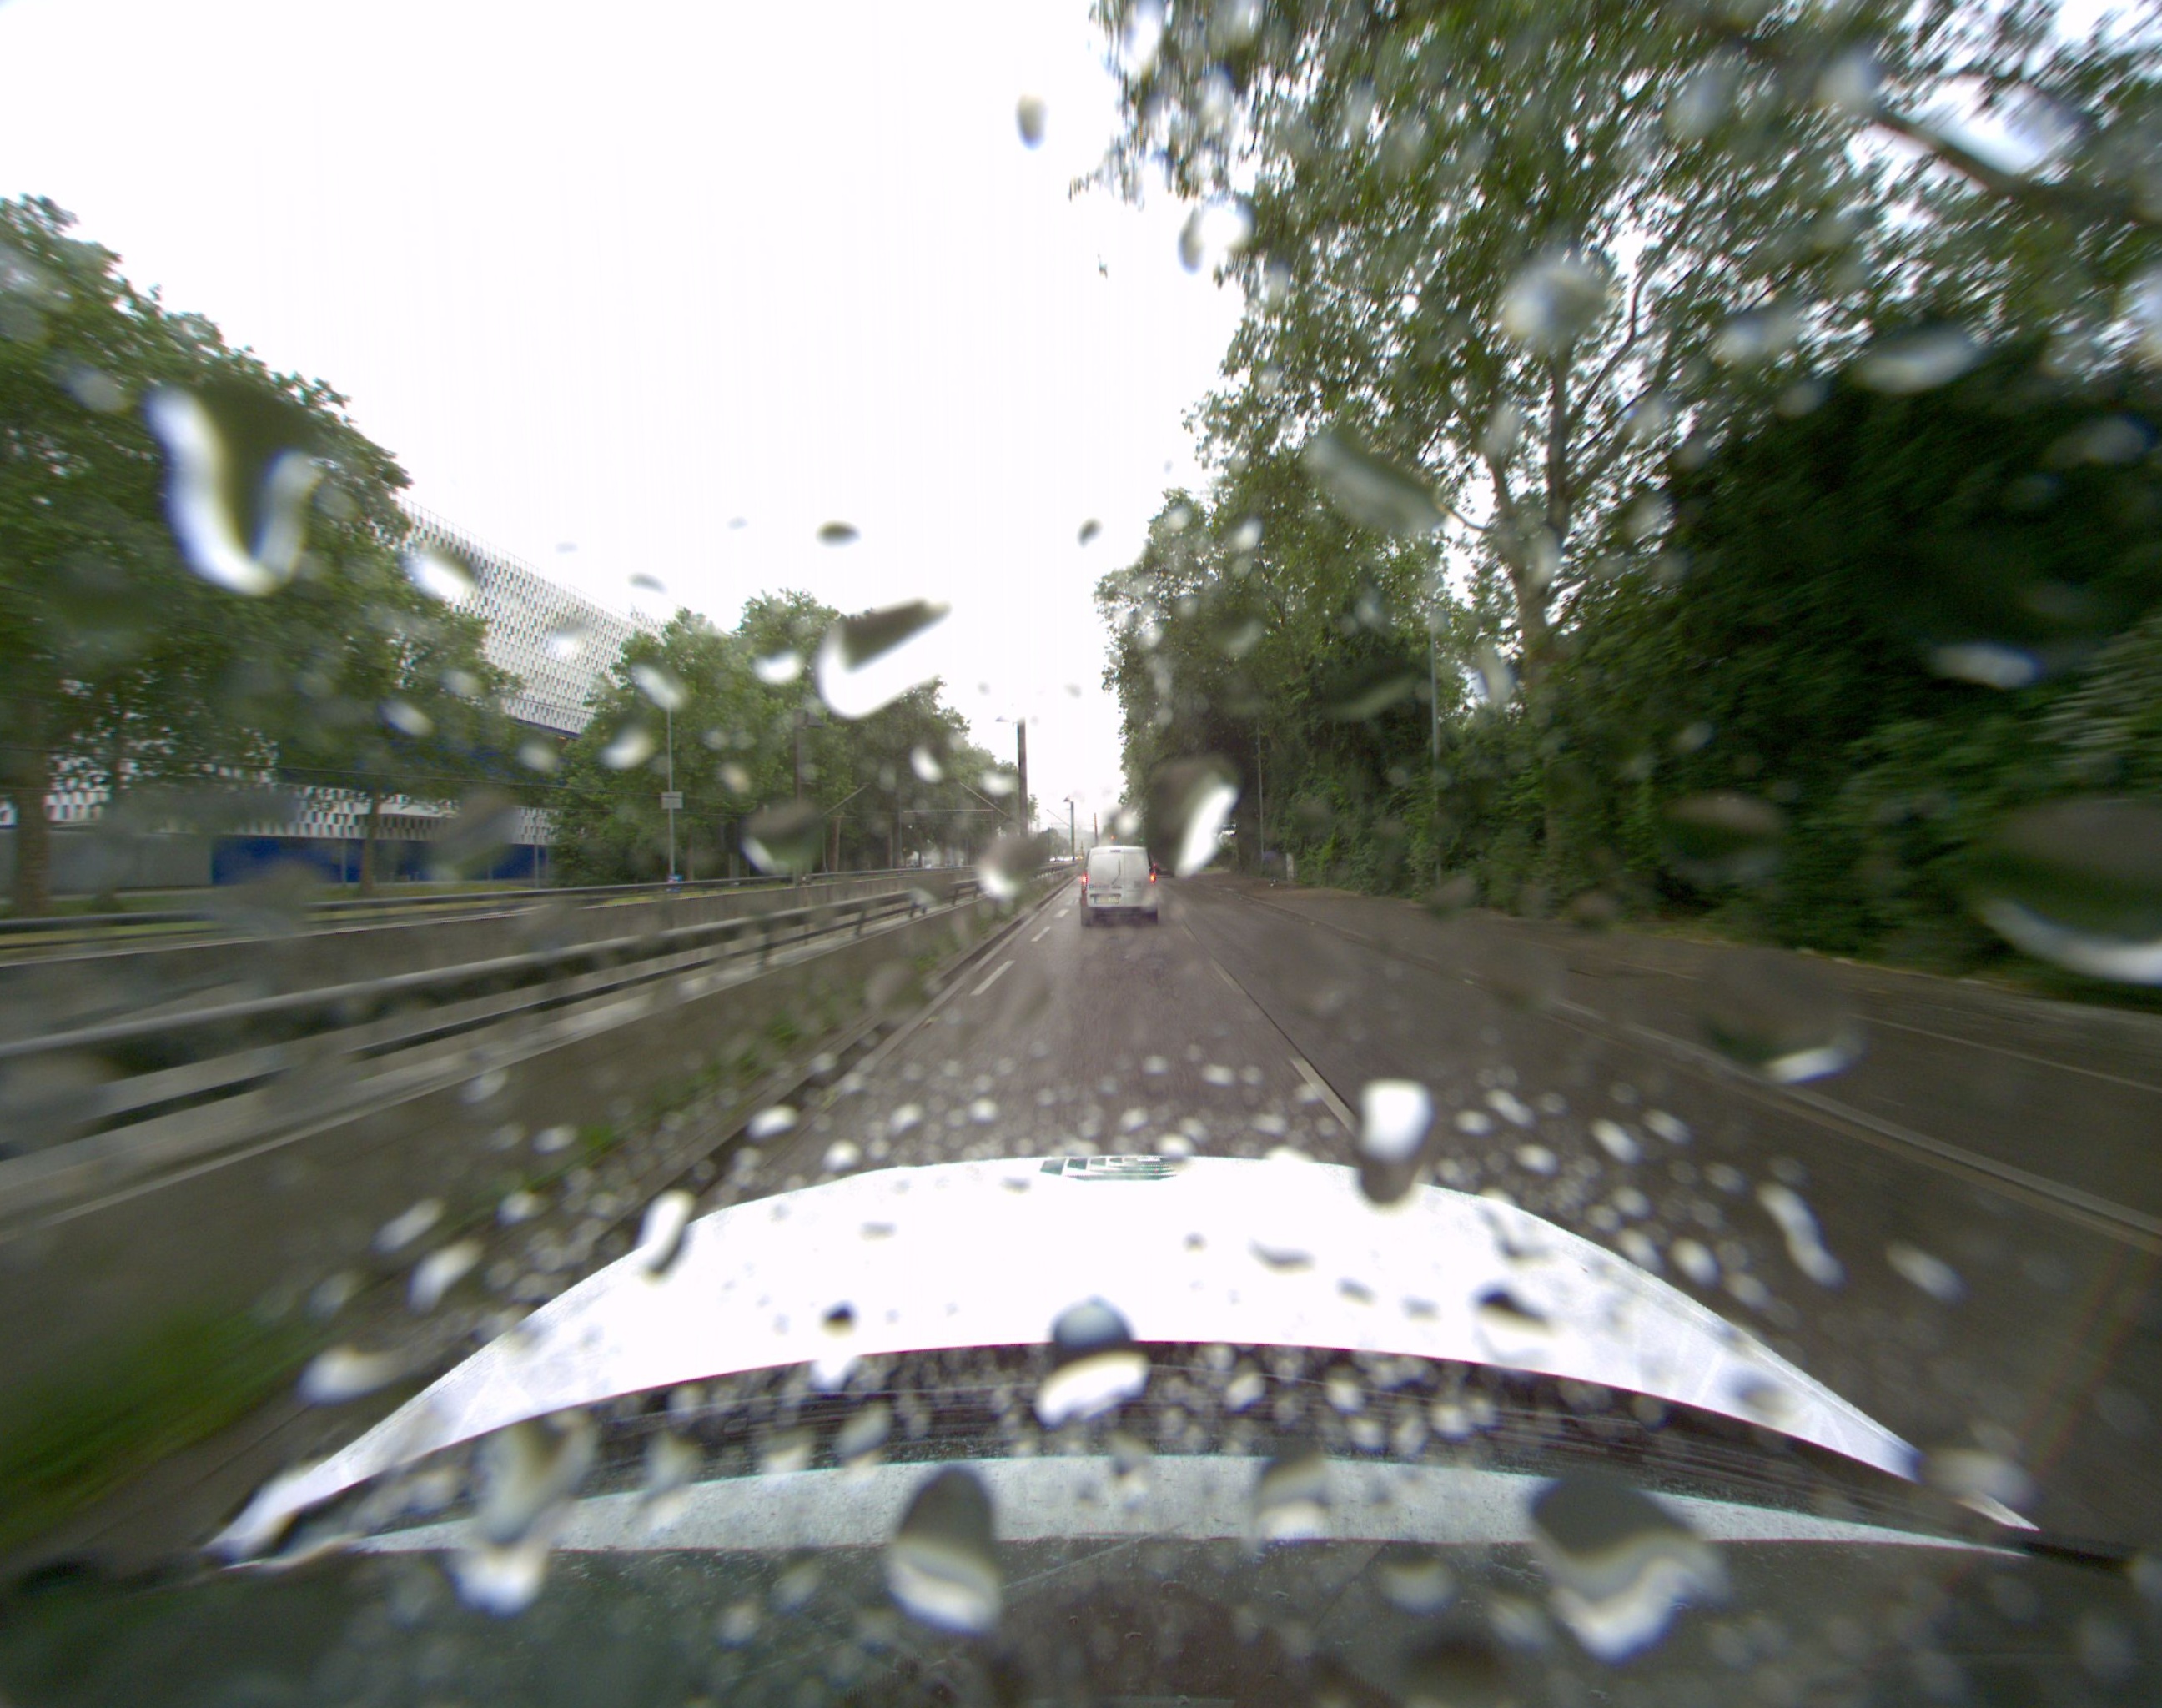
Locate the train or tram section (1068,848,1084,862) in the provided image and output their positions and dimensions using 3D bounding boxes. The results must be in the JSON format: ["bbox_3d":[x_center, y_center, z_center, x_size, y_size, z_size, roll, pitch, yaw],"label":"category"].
[{"bbox_3d":[-1.492,0.367,250.709,3.756,4.036,27.103,0,0,2],"label":"train or tram section"}]

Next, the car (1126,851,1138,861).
[{"bbox_3d":[8.674,0.331,138.972,1.985,1.750,4.003,0,0,3],"label":"car"}]

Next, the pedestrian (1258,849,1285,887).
[{"bbox_3d":[8.709,0.636,37.314,0.963,1.702,1.141,1,0,2],"label":"pedestrian"}]

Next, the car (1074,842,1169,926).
[{"bbox_3d":[0.920,0.655,19.679,2.017,1.775,4.275,0,0,1],"label":"car"}]

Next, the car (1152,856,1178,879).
[{"bbox_3d":[6.561,1.025,63.746,1.984,1.750,4.006,0,0,6],"label":"car"}]

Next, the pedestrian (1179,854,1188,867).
[{"bbox_3d":[11.379,0.727,90.635,0.888,1.390,1.017,-3,-1,4],"label":"pedestrian"}]
